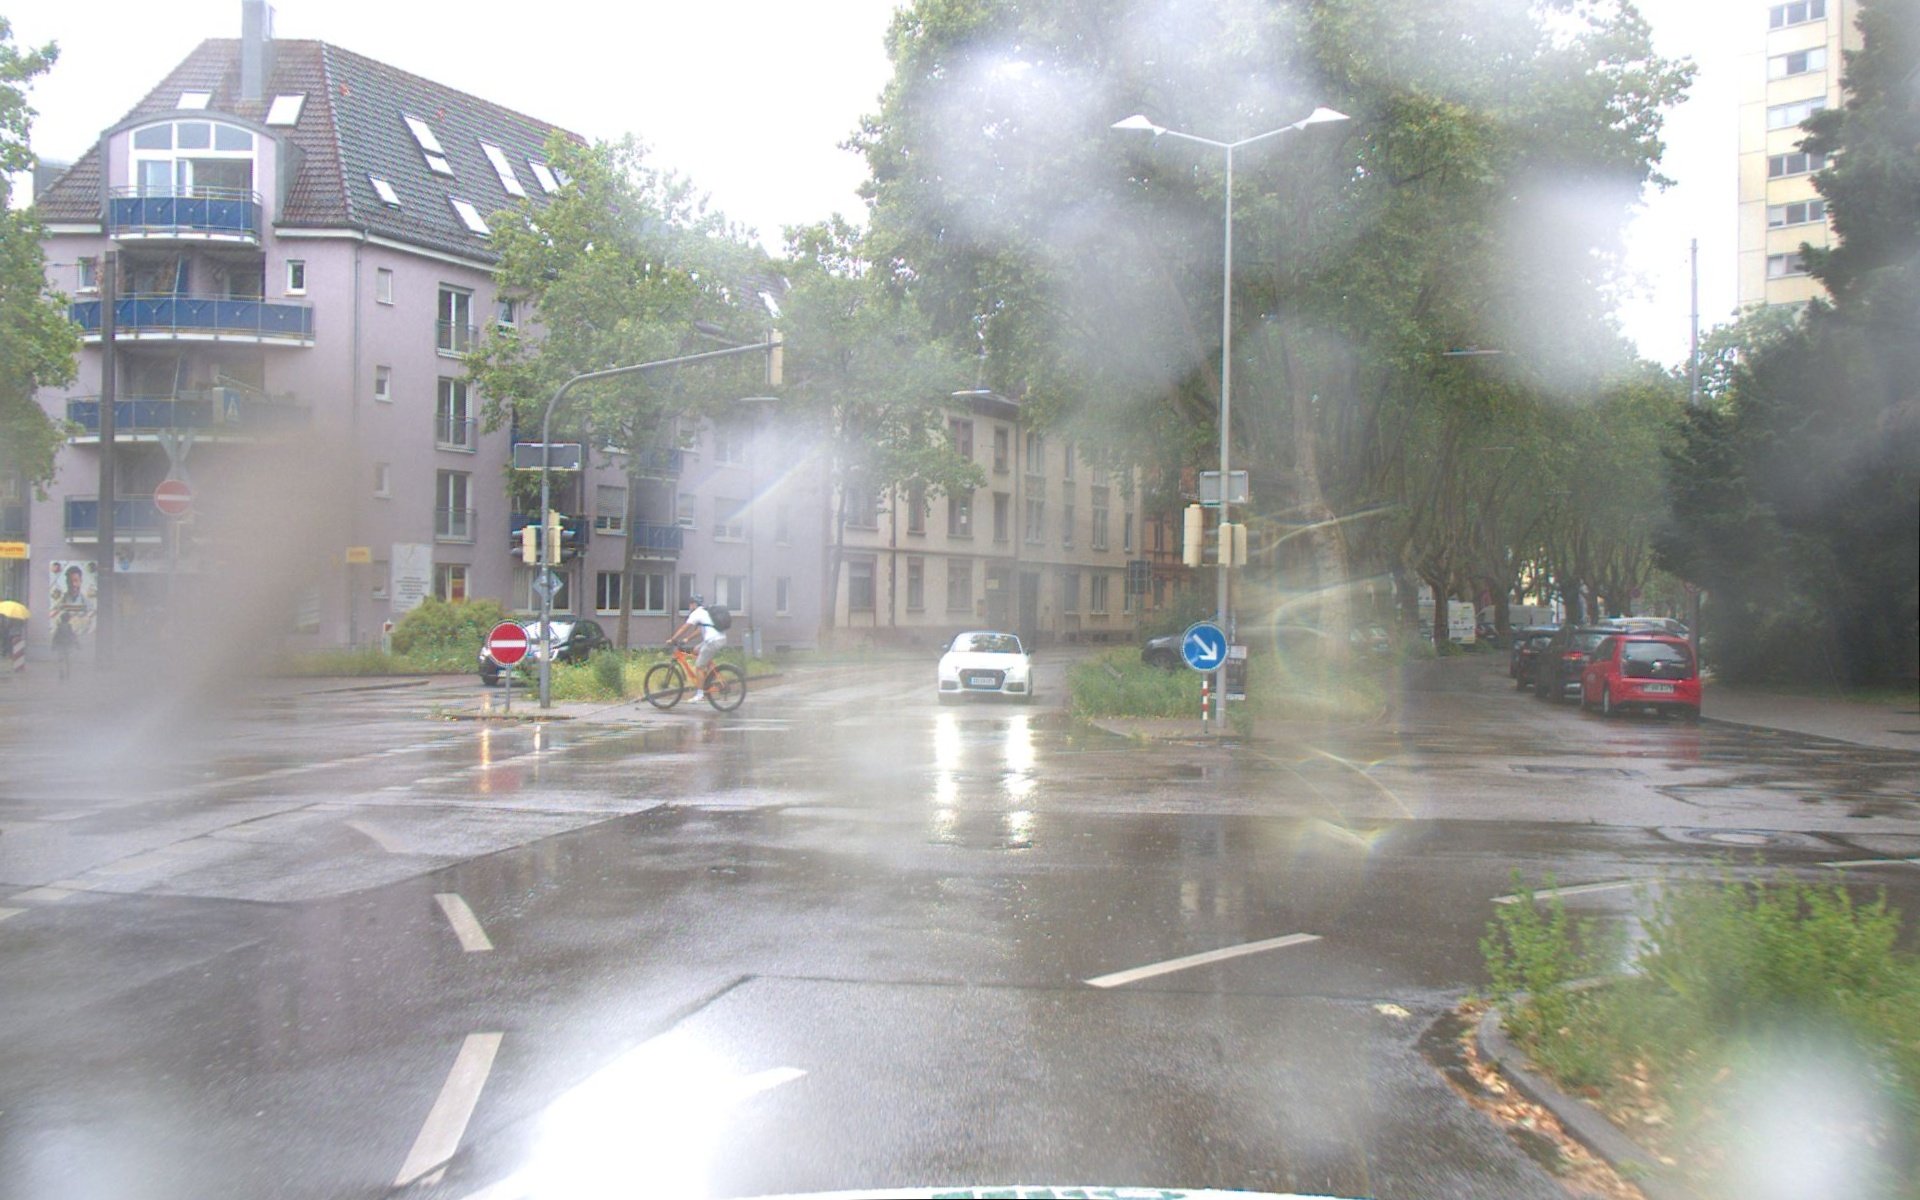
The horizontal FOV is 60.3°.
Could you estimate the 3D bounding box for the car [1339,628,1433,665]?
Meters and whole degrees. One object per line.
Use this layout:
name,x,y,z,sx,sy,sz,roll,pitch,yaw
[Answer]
car,18.849,2.047,73.318,3.902,1.574,2.002,0,-1,12

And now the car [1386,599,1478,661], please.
car,23.475,1.490,82.498,2.005,3.000,4.741,1,-1,-21

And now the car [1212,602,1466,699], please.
car,6.158,0.803,27.113,3.902,1.512,2.002,0,-1,12

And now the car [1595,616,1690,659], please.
car,32.399,1.771,78.590,3.777,1.995,1.872,0,-1,4

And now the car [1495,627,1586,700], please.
car,14.773,1.569,42.280,1.745,1.757,4.003,0,-1,13

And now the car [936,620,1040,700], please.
car,0.625,1.167,33.442,1.845,1.461,4.002,0,0,4

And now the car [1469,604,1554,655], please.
car,33.085,1.779,99.303,1.974,3.000,4.719,1,-1,-32

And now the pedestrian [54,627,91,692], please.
pedestrian,-19.800,1.316,36.903,0.643,1.420,0.773,0,-1,-36

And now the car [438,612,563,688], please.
car,-9.809,1.035,35.554,1.716,1.538,3.837,1,0,-2

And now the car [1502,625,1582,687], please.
car,18.071,1.702,51.479,1.881,1.837,4.003,0,-1,13

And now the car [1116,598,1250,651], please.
car,6.523,0.712,48.266,3.784,1.512,1.717,0,-1,12

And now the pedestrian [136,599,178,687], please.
pedestrian,-17.401,0.929,35.842,0.777,1.888,0.676,1,-1,-25

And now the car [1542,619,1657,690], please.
car,13.718,1.133,35.674,1.745,1.371,3.932,1,0,13

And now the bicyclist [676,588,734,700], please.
bicyclist,-4.194,0.715,27.219,0.778,1.817,0.697,0,-1,7

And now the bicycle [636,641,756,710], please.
bicycle,-4.342,1.233,27.228,1.833,1.100,0.657,0,-1,7

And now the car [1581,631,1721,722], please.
car,12.906,1.379,31.096,1.754,1.524,4.003,0,0,13

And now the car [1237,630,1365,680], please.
car,10.762,1.727,52.257,3.902,1.512,2.002,0,-1,12

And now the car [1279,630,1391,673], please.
car,13.620,1.859,60.200,3.902,1.512,2.002,0,-1,12
